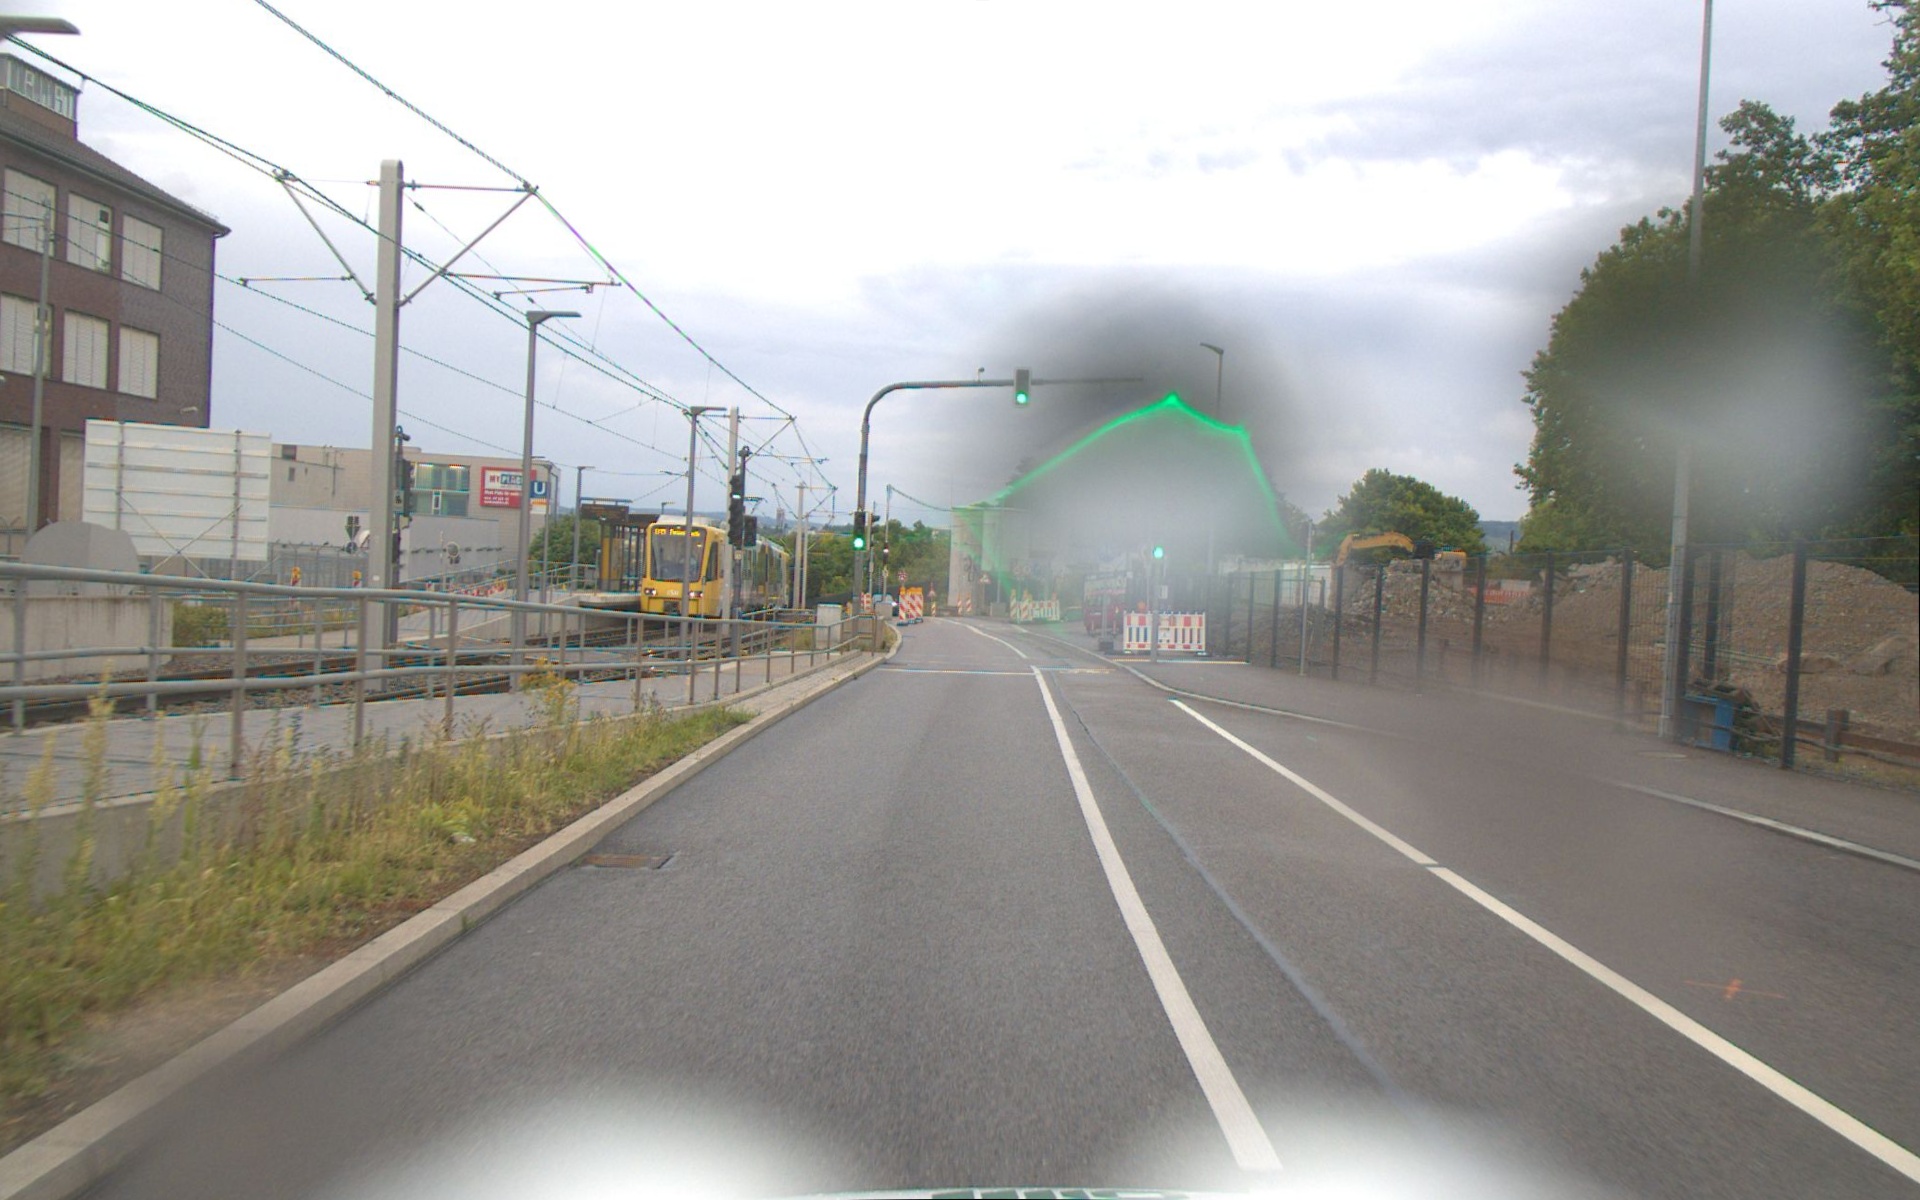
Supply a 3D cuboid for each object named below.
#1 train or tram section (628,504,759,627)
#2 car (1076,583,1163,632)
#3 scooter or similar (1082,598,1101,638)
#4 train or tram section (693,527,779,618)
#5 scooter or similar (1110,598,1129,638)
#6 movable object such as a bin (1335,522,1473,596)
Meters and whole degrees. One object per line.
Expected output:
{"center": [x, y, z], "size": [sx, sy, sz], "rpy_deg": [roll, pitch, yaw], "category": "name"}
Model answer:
{"center": [-10.104, -1.208, 65.086], "size": [2.897, 3.953, 19.559], "rpy_deg": [3, 0, -3], "category": "train or tram section"}
{"center": [6.301, 0.296, 64.926], "size": [1.785, 1.825, 4.402], "rpy_deg": [2, 0, 28], "category": "car"}
{"center": [4.686, 0.618, 59.110], "size": [0.602, 1.375, 1.913], "rpy_deg": [2, 0, 4], "category": "scooter or similar"}
{"center": [-11.178, -1.294, 84.422], "size": [2.897, 3.953, 19.275], "rpy_deg": [3, 0, -4], "category": "train or tram section"}
{"center": [5.706, 0.634, 59.157], "size": [0.602, 1.375, 1.913], "rpy_deg": [2, 0, 4], "category": "scooter or similar"}
{"center": [38.247, -3.512, 142.821], "size": [10.994, 6.100, 3.493], "rpy_deg": [1, 0, 6], "category": "movable object such as a bin"}
